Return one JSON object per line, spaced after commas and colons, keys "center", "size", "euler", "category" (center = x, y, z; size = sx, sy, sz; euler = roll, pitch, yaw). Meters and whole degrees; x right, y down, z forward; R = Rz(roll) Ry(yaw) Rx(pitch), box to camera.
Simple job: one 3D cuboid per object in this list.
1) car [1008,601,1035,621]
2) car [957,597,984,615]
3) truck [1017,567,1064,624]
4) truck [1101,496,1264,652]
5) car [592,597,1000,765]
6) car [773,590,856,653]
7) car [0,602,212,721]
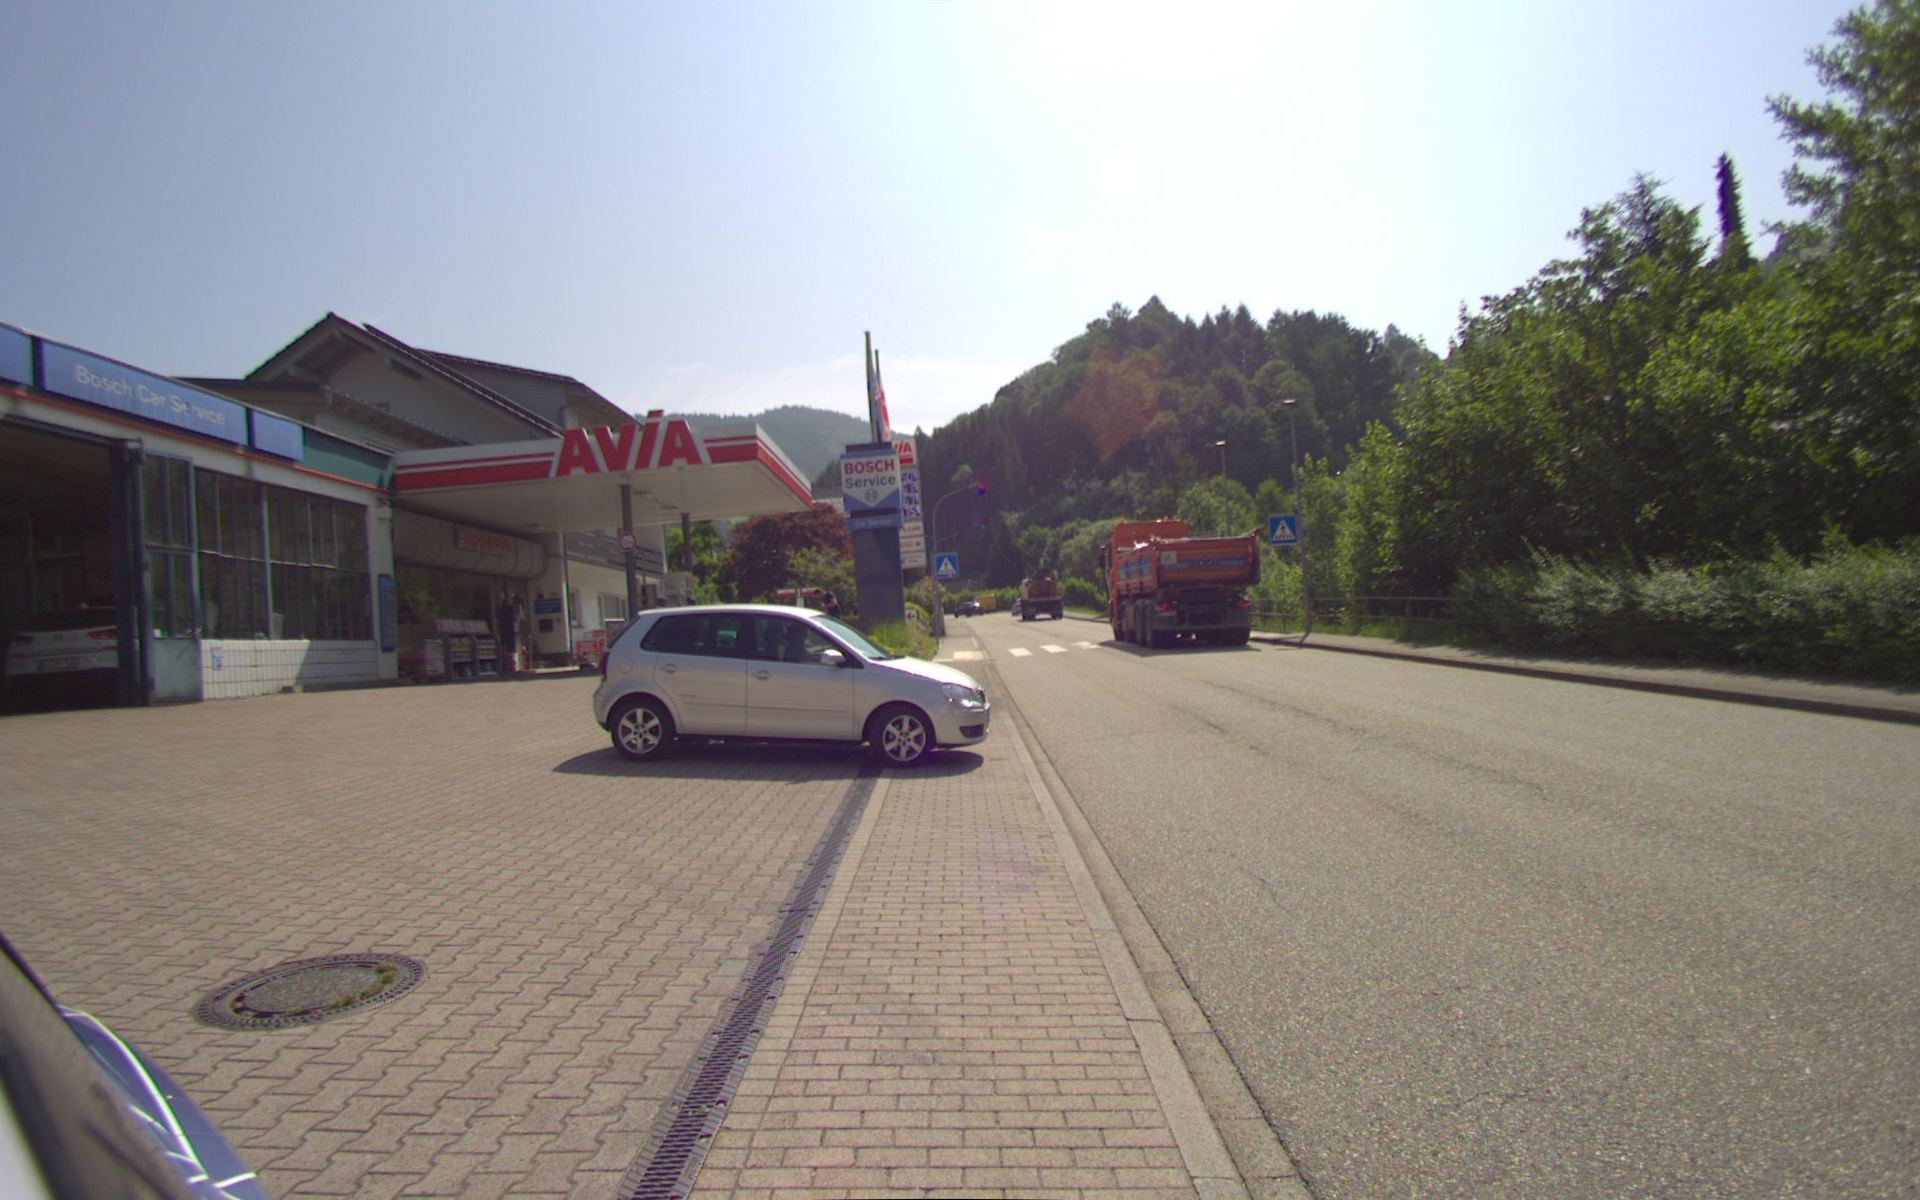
{"center": [5.134, 0.906, 84.490], "size": [1.762, 1.586, 3.601], "euler": [-1, 0, -3], "category": "car"}
{"center": [1.084, 0.625, 103.489], "size": [1.835, 1.791, 3.713], "euler": [-1, 0, -14], "category": "car"}
{"center": [5.441, -0.296, 69.770], "size": [2.616, 3.609, 7.770], "euler": [-2, 0, 1], "category": "truck"}
{"center": [5.872, -0.621, 28.255], "size": [2.616, 3.609, 8.192], "euler": [-2, 0, 0], "category": "truck"}
{"center": [-1.471, 0.717, 9.916], "size": [3.708, 1.493, 1.594], "euler": [0, 0, 4], "category": "car"}
{"center": [-3.922, 0.538, 27.790], "size": [1.674, 1.589, 3.910], "euler": [-1, 0, 1], "category": "car"}
{"center": [-14.052, 0.905, 16.791], "size": [1.578, 1.701, 3.943], "euler": [-1, 0, -20], "category": "car"}
